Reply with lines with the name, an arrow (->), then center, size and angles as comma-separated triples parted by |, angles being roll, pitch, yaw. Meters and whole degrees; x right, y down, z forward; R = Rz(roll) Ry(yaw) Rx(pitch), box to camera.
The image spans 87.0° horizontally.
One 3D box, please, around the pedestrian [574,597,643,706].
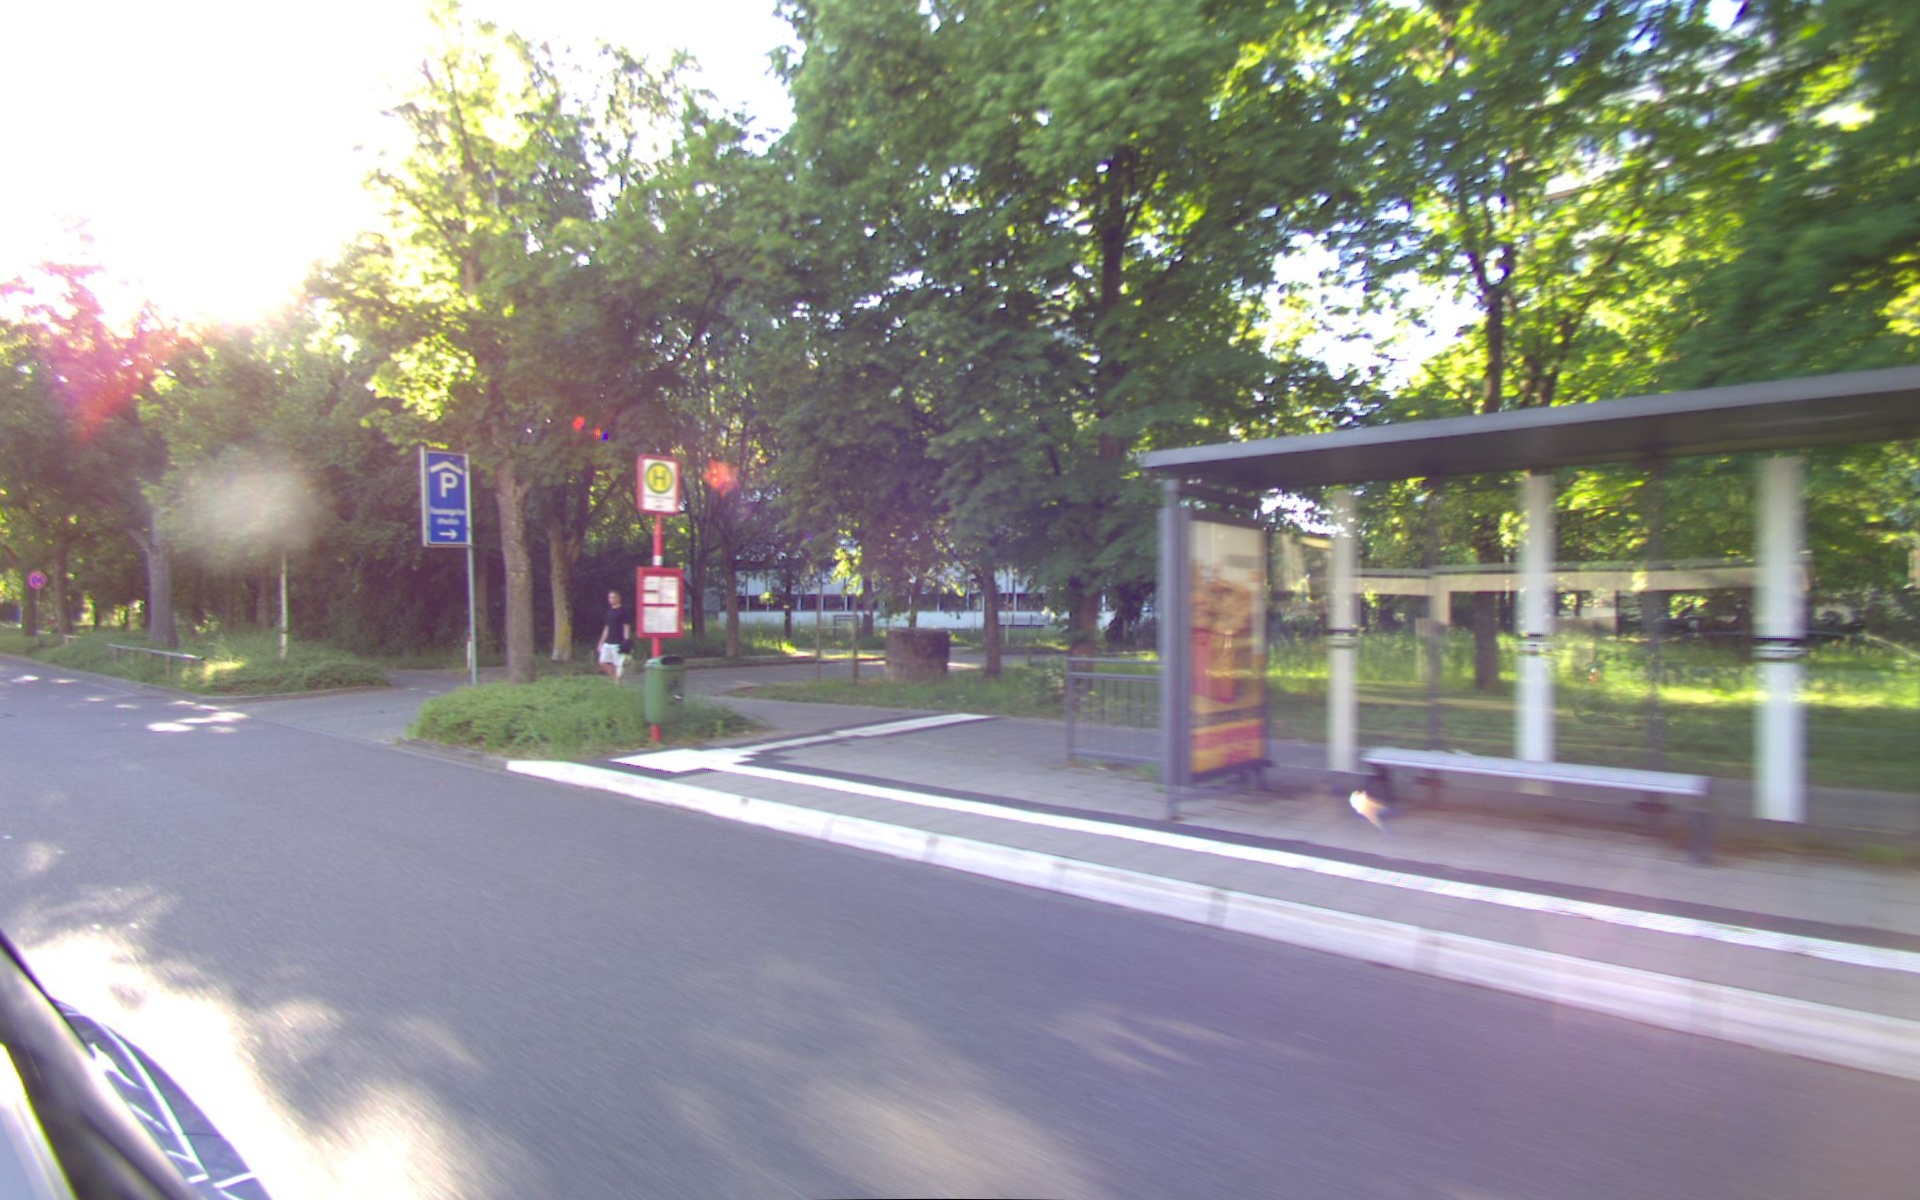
pedestrian -> -6.144, 0.882, 17.703 | 0.720, 1.835, 0.894 | -1, -1, 38
